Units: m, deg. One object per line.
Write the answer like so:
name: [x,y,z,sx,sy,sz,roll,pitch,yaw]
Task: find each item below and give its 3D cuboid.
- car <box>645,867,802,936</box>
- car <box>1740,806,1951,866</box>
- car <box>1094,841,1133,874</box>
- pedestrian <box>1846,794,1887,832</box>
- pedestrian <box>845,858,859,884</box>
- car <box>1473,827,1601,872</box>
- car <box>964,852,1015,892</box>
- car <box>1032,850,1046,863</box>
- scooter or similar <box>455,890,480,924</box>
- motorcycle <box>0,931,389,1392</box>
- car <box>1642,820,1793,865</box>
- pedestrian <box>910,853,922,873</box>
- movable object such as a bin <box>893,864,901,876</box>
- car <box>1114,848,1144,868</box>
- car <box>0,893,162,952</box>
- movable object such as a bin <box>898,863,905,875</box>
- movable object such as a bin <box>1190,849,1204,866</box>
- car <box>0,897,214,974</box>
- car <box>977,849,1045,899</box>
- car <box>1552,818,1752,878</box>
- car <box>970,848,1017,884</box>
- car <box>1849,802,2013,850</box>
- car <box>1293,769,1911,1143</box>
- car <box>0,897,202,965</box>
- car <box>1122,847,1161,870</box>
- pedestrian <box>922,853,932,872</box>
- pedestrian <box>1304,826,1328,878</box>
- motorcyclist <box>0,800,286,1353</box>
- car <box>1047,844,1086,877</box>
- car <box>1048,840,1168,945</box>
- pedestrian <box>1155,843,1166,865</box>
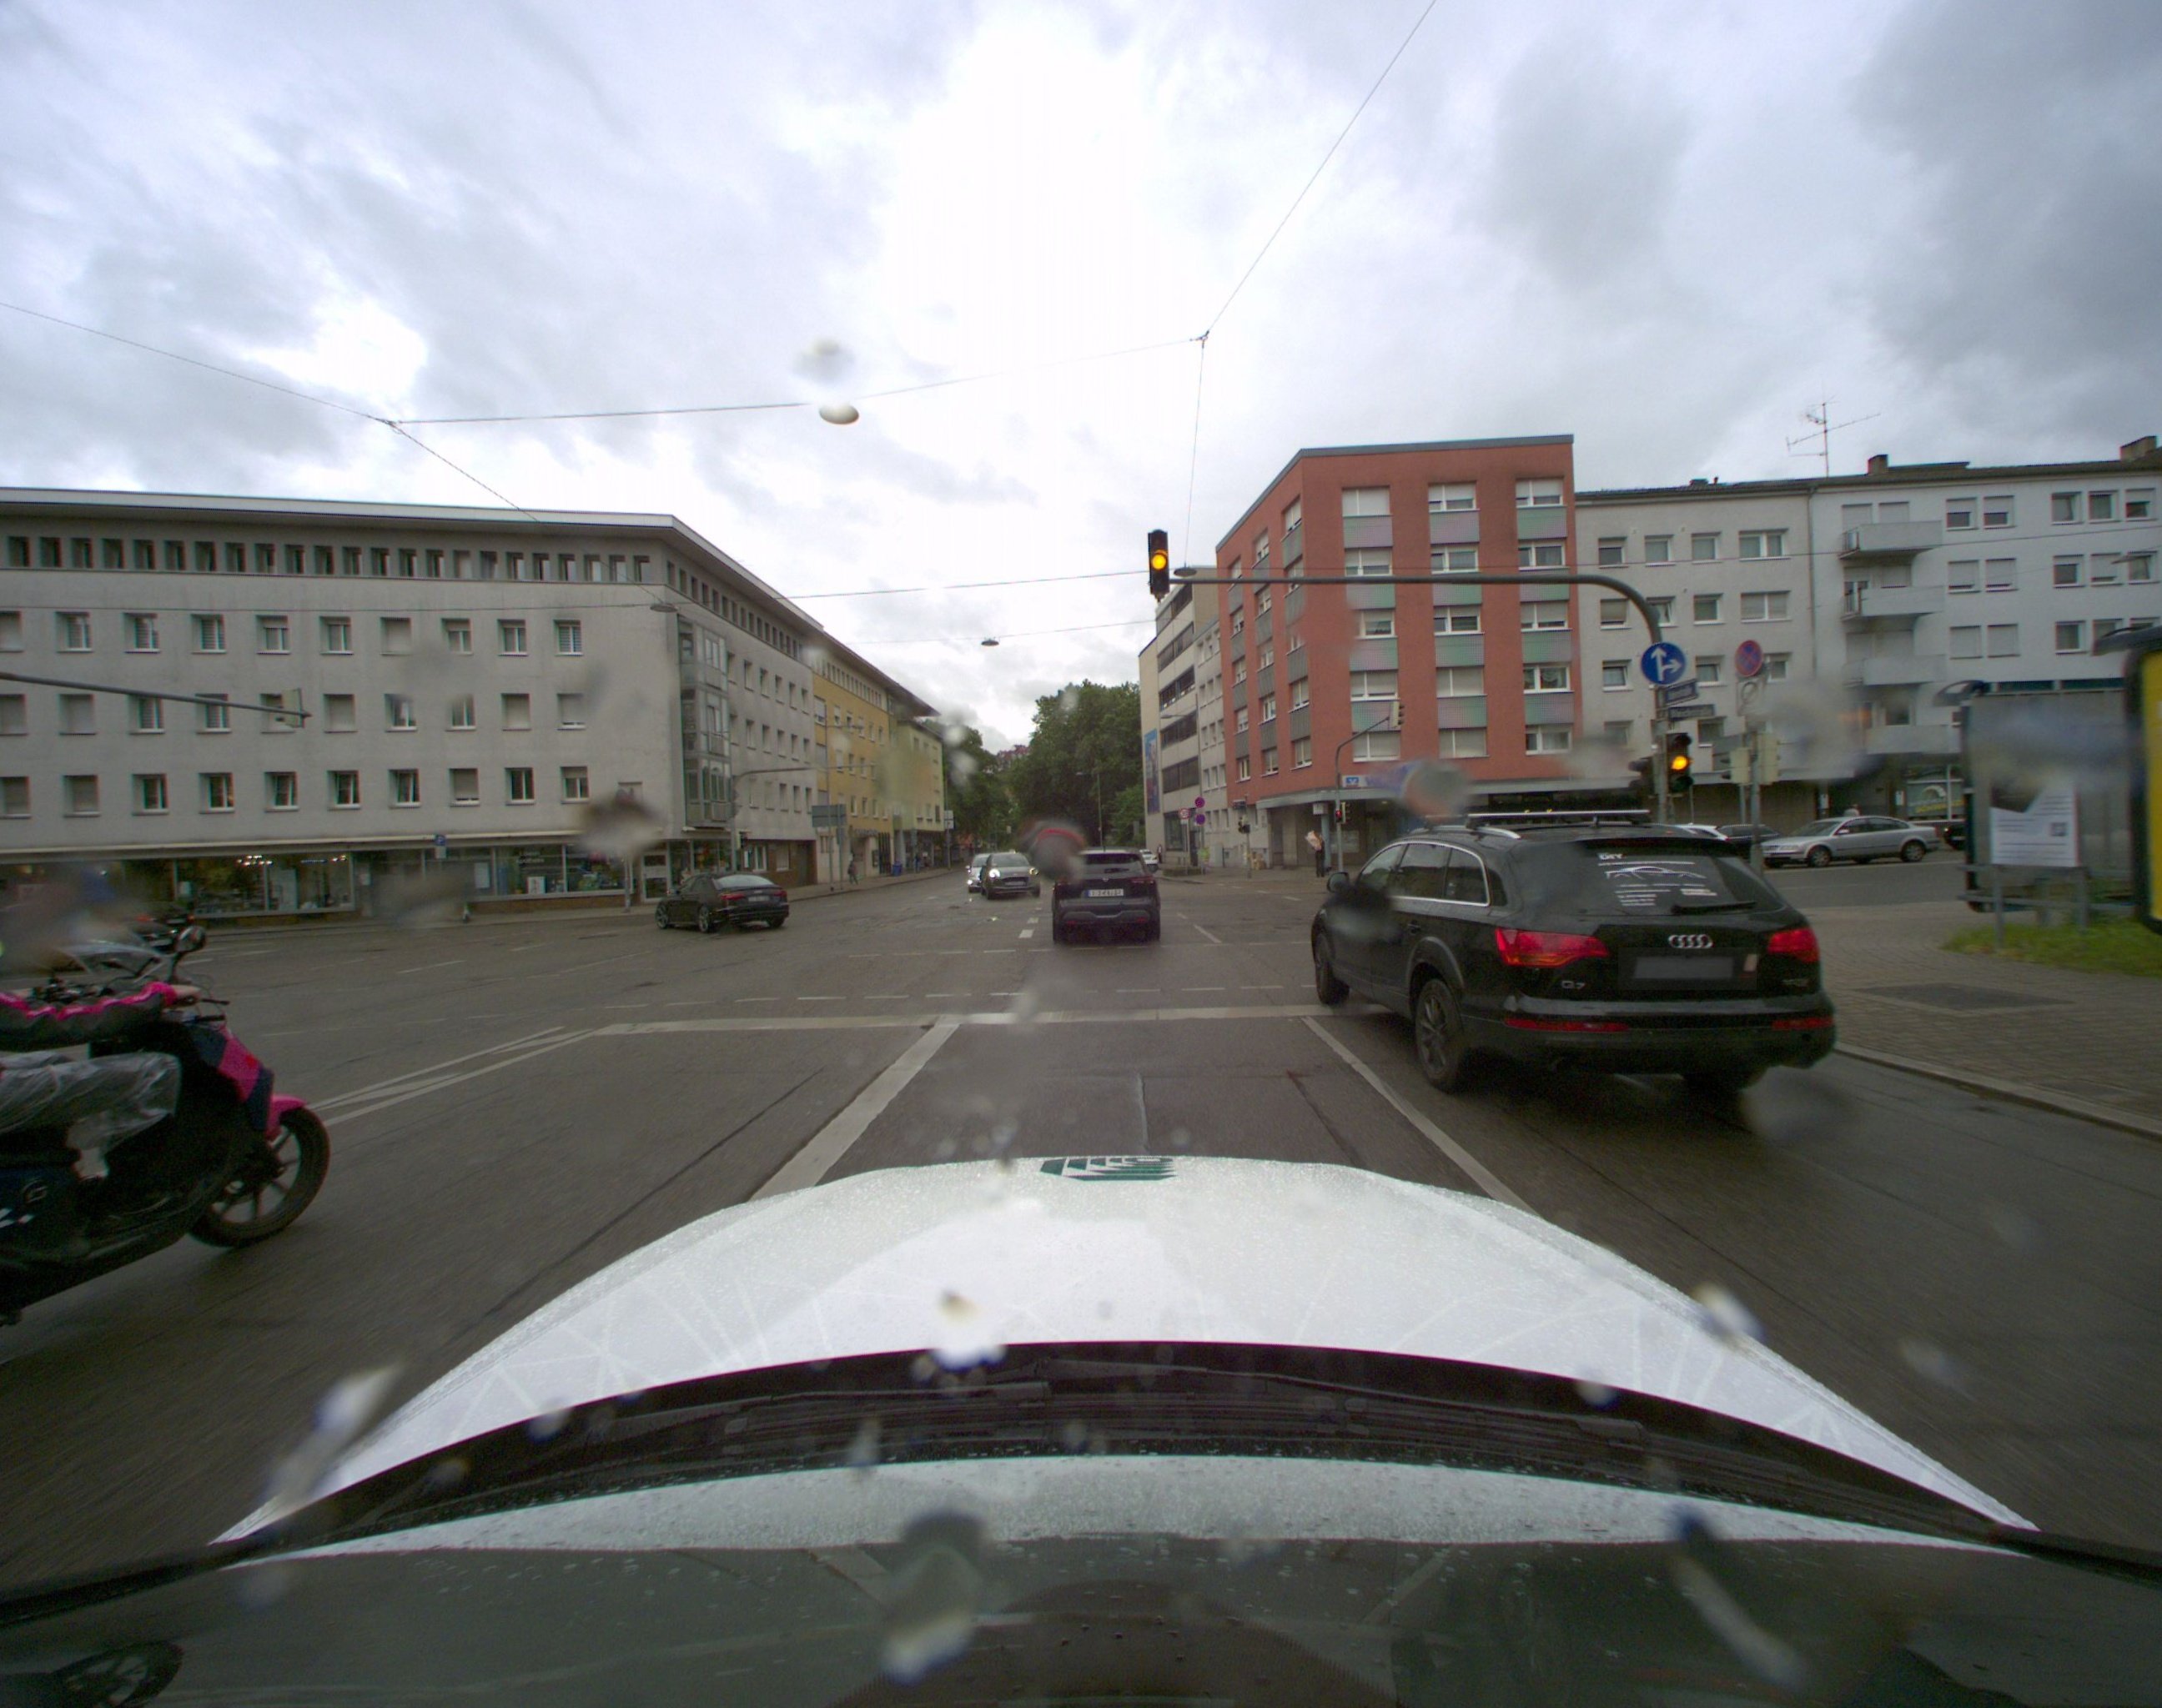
car: [-9.021,1.117,20.379,4.443,1.387,2.012,-2,2,44]
car: [22.628,-0.525,24.234,4.493,1.486,1.846,-3,0,1]
car: [1.921,0.236,49.917,1.941,1.816,3.996,-4,0,-3]
pedestrian: [34.420,-1.777,35.684,1.006,1.612,0.826,-1,0,2]
pedestrian: [-14.221,1.051,50.646,0.684,1.581,0.652,0,0,2]
car: [17.417,-0.154,31.231,3.932,1.486,1.703,-3,0,1]
car: [-3.818,0.750,34.646,1.931,1.527,4.128,-3,-1,-4]
car: [-5.850,0.318,112.270,1.817,1.612,3.860,-1,1,-4]
scooter or similar: [-22.667,1.949,30.107,0.366,1.094,1.127,-4,3,-21]
motorcycle: [-3.392,0.946,2.610,0.585,1.191,2.101,-1,0,-2]
car: [23.917,-0.433,30.702,4.353,1.425,1.669,-3,0,1]
pedestrian: [-14.444,0.771,71.445,0.862,1.788,0.875,0,0,1]
movable object such as a bin: [-14.697,1.260,65.070,0.452,0.929,0.503,-2,0,2]
car: [3.713,0.292,63.278,1.711,1.442,4.076,-4,1,-4]
car: [-34.308,2.296,27.218,4.327,1.631,2.039,-3,0,-11]
movable object such as a bin: [-14.822,1.244,67.225,0.397,1.006,0.545,-2,0,2]
movable object such as a bin: [7.814,0.246,54.928,0.713,1.068,0.781,-3,0,-11]
car: [-23.330,1.868,18.678,4.321,1.376,2.042,-2,2,-6]
car: [-2.549,0.678,28.771,1.857,1.553,4.209,-3,0,-12]
car: [16.953,-0.171,24.350,4.636,1.486,1.919,-3,0,-1]
car: [-4.300,0.569,40.707,1.815,1.608,4.429,-3,-1,0]
car: [31.927,-1.019,30.684,4.221,1.542,1.758,-3,0,2]
car: [3.280,0.499,6.590,2.013,1.869,4.902,-1,1,2]
car: [-29.019,2.237,23.973,3.986,1.626,1.693,-3,0,-9]
car: [4.174,0.295,56.802,1.773,1.401,4.568,-4,1,-7]
pedestrian: [-14.054,0.805,74.270,0.797,1.688,0.816,-2,0,-5]
pedestrian: [10.022,-0.091,34.748,0.822,2.158,0.770,-1,0,1]
motorcyclist: [-3.394,0.609,2.560,0.912,1.493,0.864,-1,0,-2]
car: [-0.889,0.379,46.951,1.942,1.684,3.995,-4,0,-3]
car: [0.392,0.613,14.960,1.889,1.629,3.998,-1,0,-1]
pedestrian: [6.373,0.008,65.291,0.612,1.737,0.678,-4,0,-12]
